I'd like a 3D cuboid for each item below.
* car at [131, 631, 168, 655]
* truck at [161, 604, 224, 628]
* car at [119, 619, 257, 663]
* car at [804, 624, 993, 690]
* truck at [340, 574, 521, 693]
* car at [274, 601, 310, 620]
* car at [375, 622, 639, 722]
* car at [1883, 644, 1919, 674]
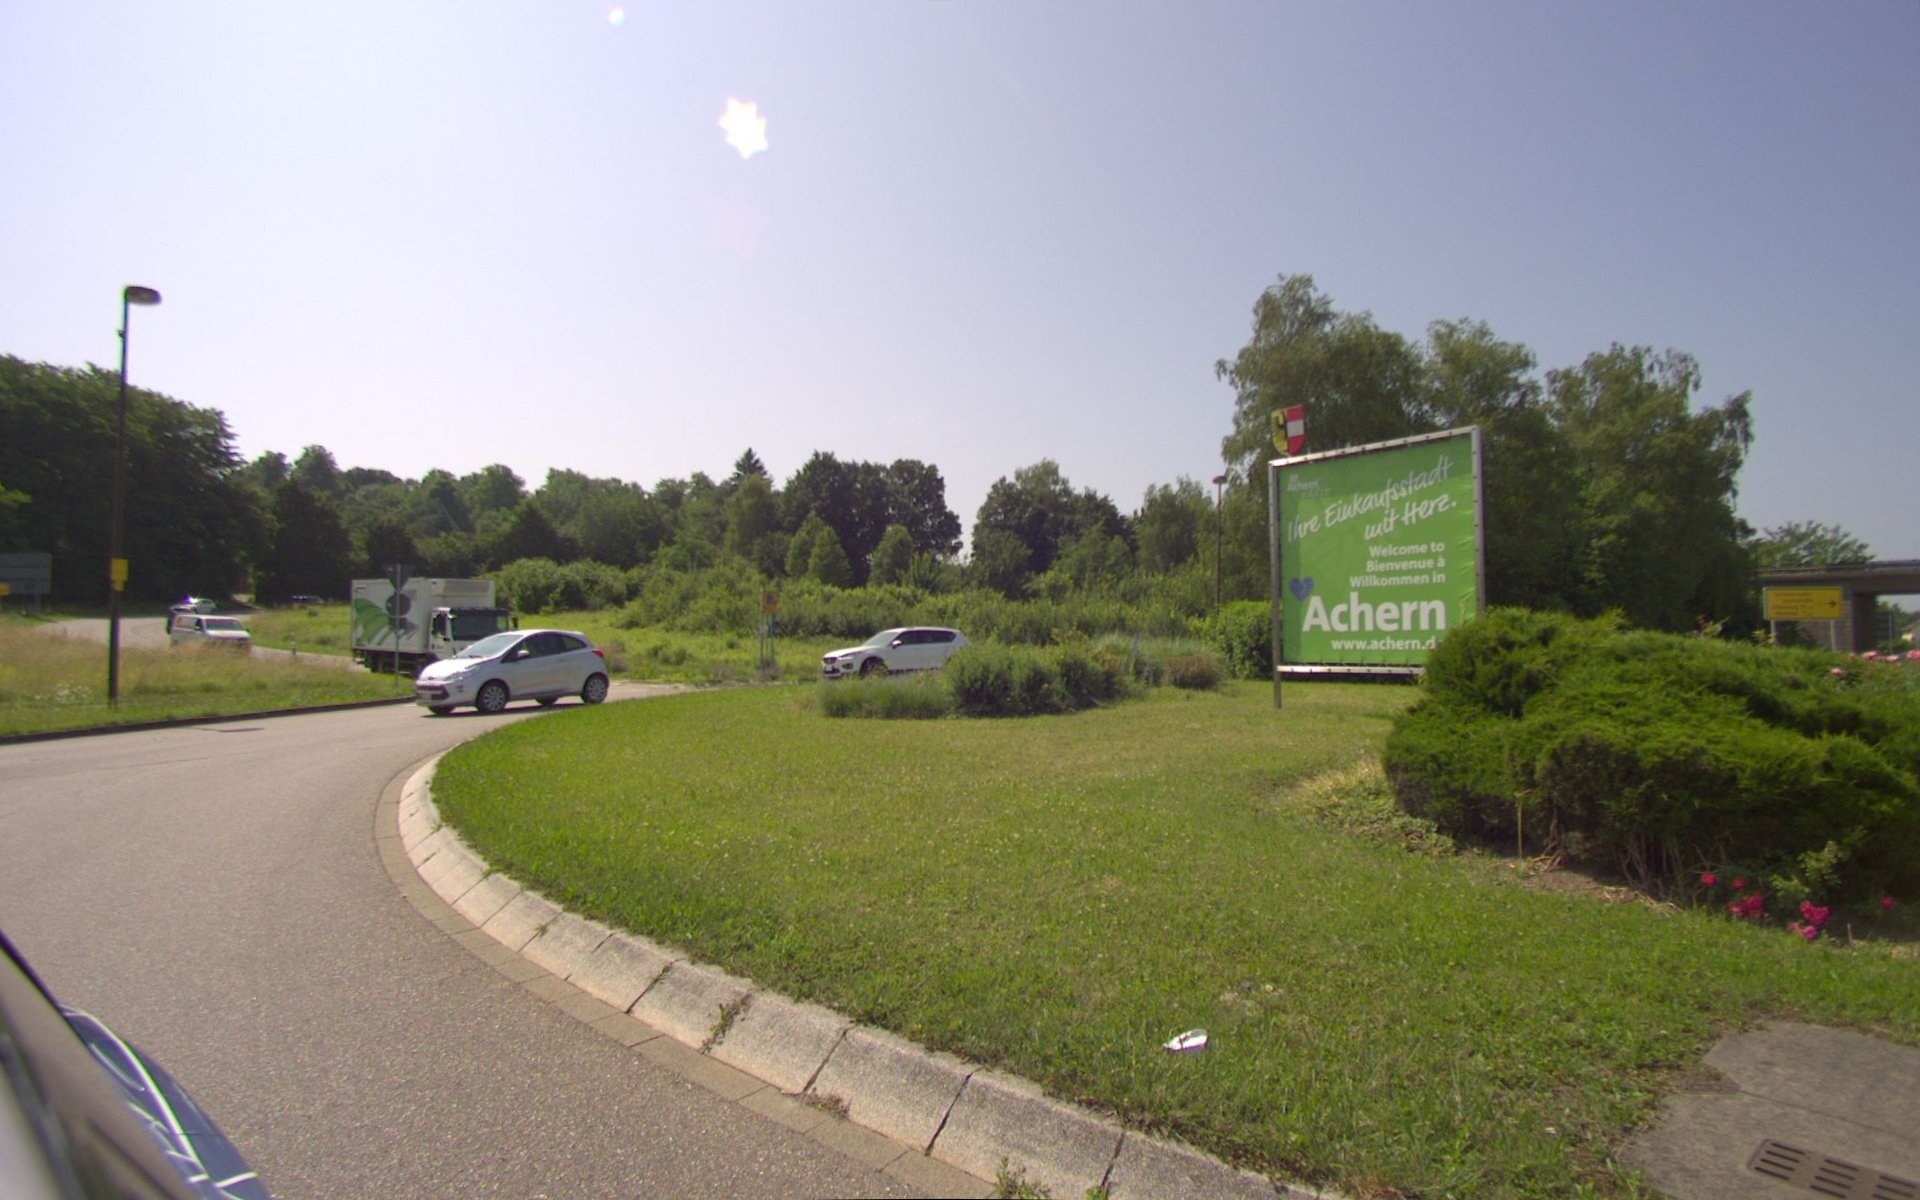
[{"bbox_3d":[-55.444,2.961,69.222,1.730,1.542,4.219,5,-6,-41],"label":"car"},{"bbox_3d":[-66.055,1.361,87.222,2.323,2.029,5.455,0,-1,-14],"label":"truck"},{"bbox_3d":[-36.881,1.933,48.376,5.538,2.029,1.995,0,-1,9],"label":"car"},{"bbox_3d":[-1.721,1.580,29.137,5.037,1.665,2.203,0,-1,-36],"label":"car"},{"bbox_3d":[-19.490,1.149,36.949,9.020,3.858,2.860,-1,-1,42],"label":"truck"},{"bbox_3d":[-63.589,1.036,96.383,1.880,1.607,4.387,2,-4,-21],"label":"car"},{"bbox_3d":[-8.476,1.305,19.292,2.120,1.628,4.156,-4,-2,30],"label":"car"},{"bbox_3d":[58.319,3.578,61.858,4.563,1.665,2.033,0,-1,-38],"label":"car"}]
